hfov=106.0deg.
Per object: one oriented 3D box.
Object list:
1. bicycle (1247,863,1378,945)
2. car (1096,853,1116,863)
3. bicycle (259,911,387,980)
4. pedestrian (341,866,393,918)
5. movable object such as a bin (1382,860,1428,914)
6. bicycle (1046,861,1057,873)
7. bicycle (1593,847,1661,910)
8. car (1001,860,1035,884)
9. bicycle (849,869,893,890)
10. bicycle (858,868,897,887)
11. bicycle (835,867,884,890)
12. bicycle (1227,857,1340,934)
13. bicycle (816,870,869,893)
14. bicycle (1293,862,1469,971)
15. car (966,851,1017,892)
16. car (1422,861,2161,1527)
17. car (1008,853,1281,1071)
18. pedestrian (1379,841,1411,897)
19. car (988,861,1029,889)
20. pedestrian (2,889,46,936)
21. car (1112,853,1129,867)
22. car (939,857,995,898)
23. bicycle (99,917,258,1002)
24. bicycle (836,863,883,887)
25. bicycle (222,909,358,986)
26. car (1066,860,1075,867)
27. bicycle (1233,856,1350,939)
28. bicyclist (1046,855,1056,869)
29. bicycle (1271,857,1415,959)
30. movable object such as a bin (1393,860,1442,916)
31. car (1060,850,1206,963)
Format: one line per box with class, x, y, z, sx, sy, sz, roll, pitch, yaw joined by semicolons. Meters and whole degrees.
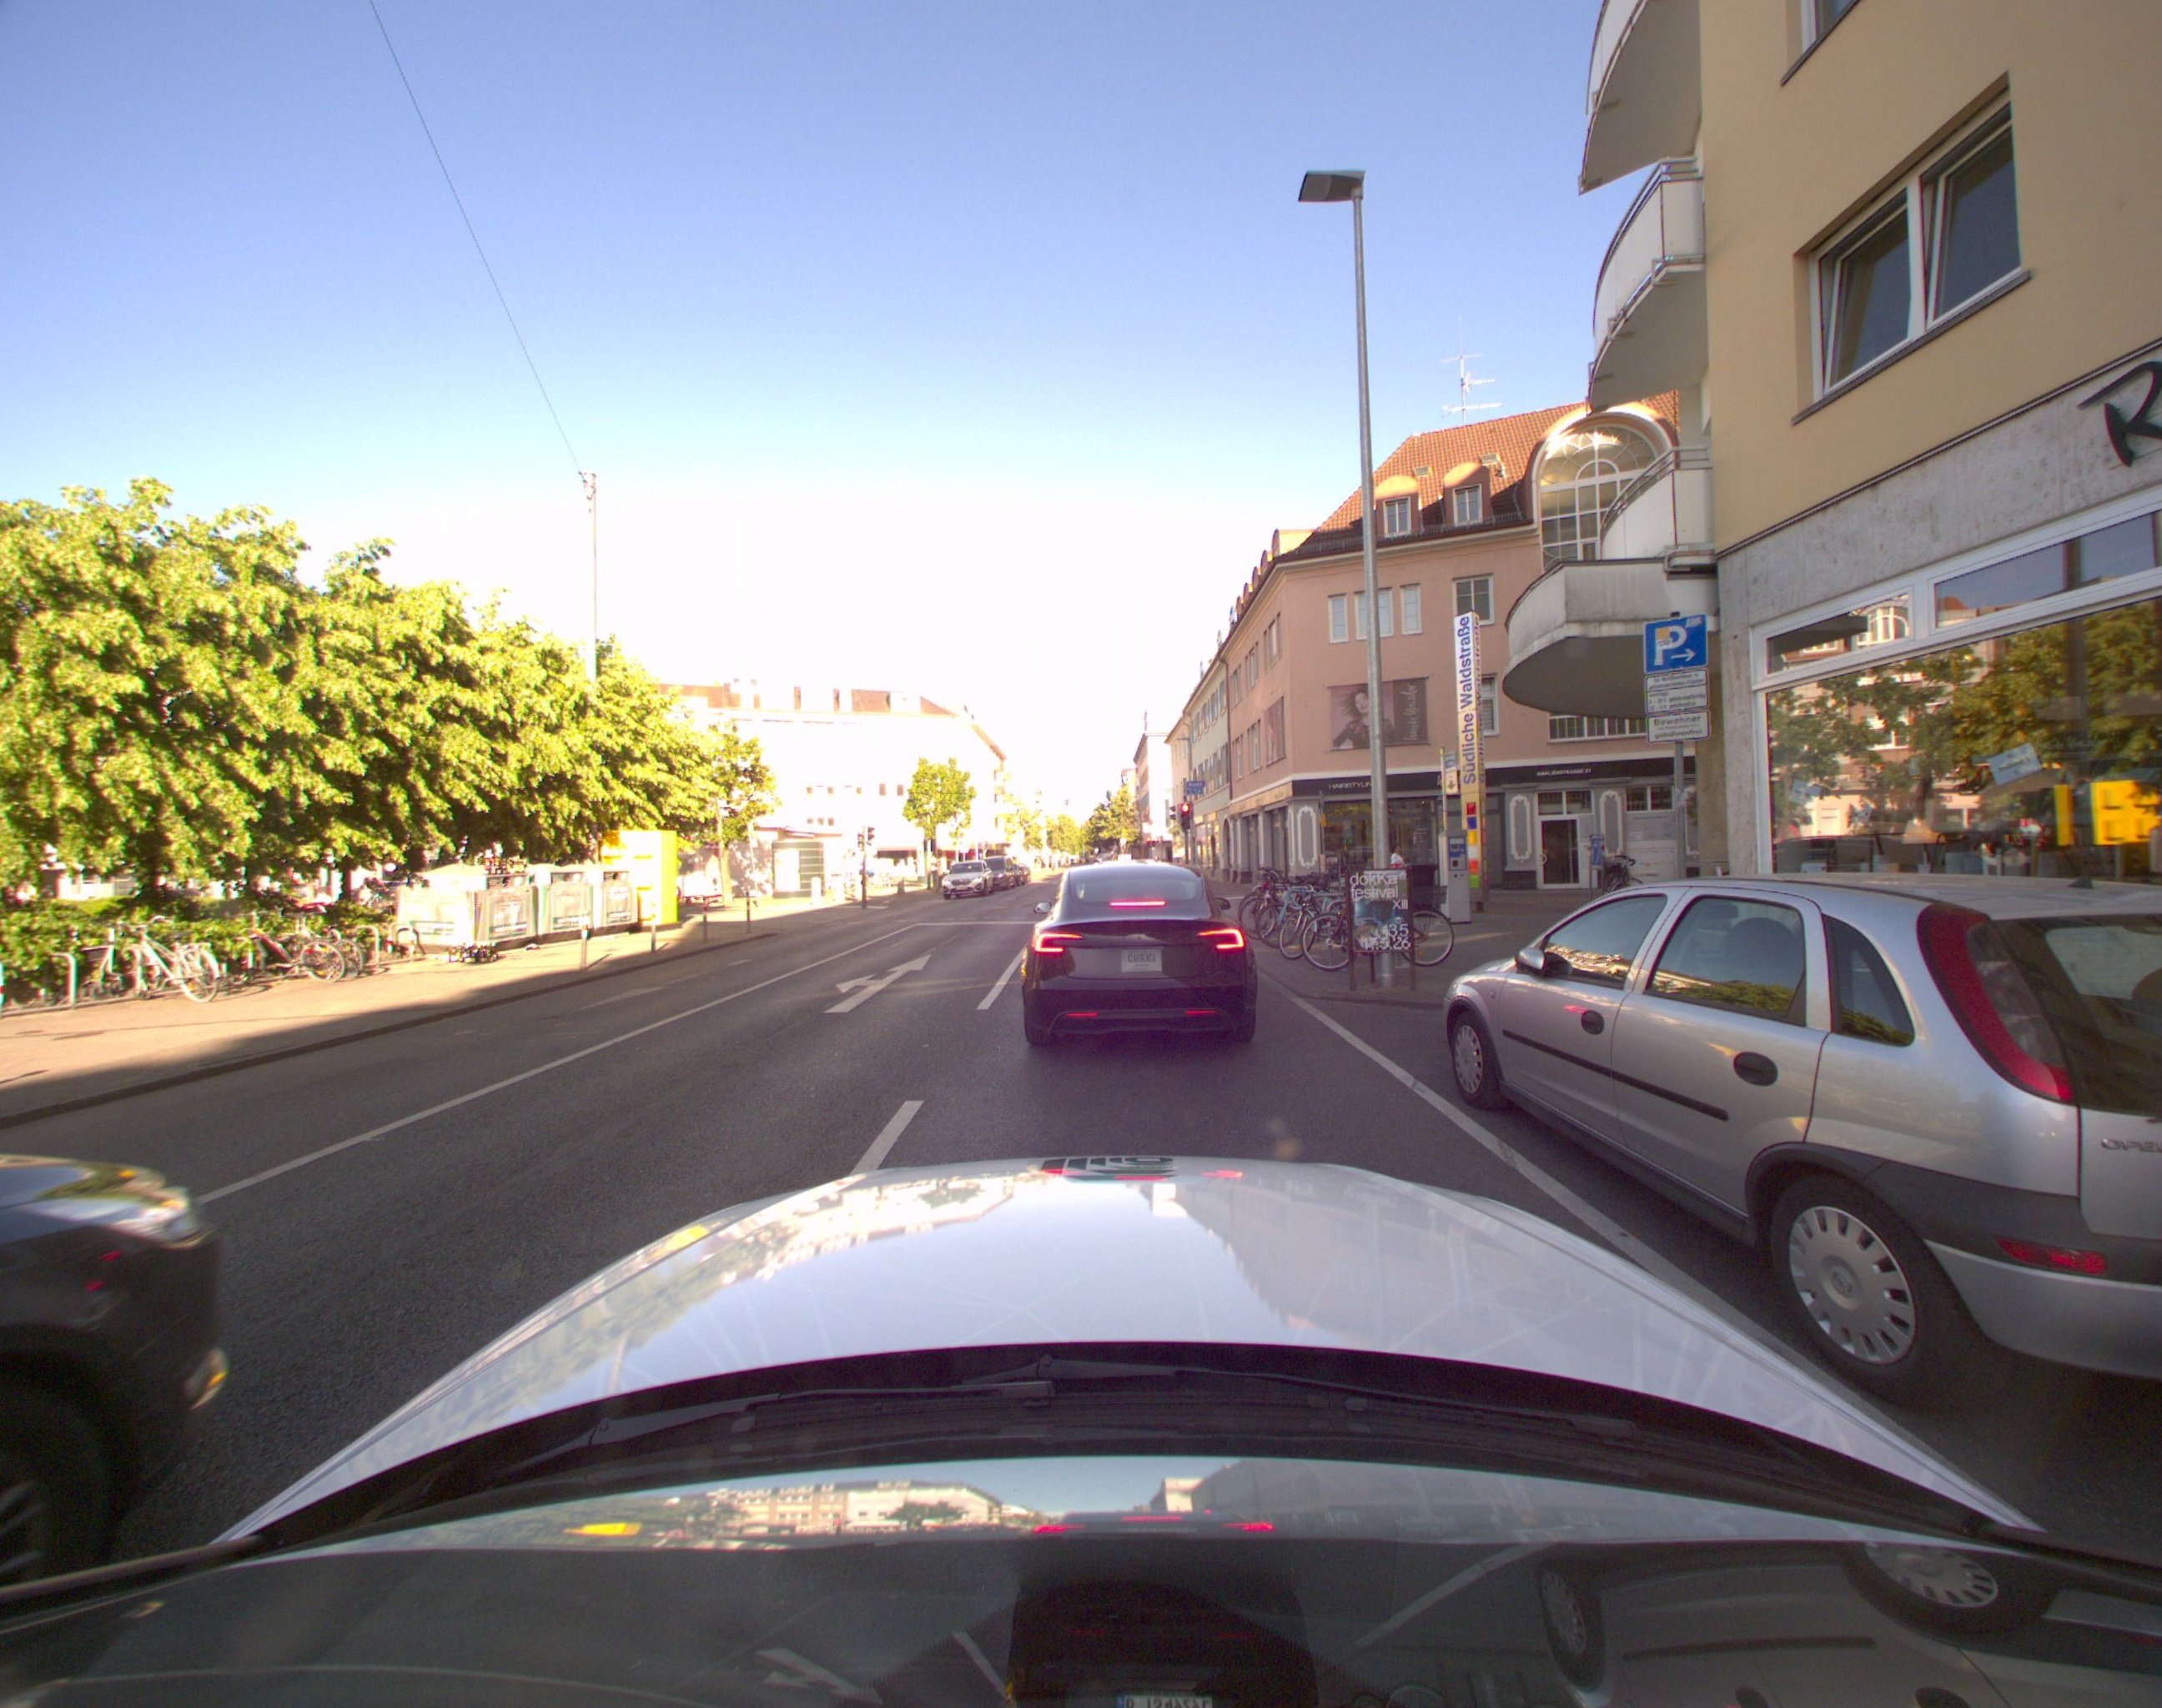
bicycle;3.522;0.754;12.508;1.788;1.124;0.783;-3;-1;7
car;5.125;0.846;167.677;3.974;2.013;2.000;-1;0;0
bicycle;-11.342;1.366;12.202;1.517;0.958;0.431;-1;1;3
pedestrian;-28.380;1.510;32.390;1.388;2.014;0.908;-1;0;14
movable object such as a bin;6.752;0.677;16.983;0.730;1.092;0.628;0;-1;3
bicycle;-3.476;1.540;95.791;1.108;1.344;3.998;-1;0;-1
bicycle;11.144;0.478;16.695;0.653;1.199;2.223;-2;0;21
car;-4.392;1.256;57.281;1.988;1.436;4.672;-5;0;-1
bicycle;-12.948;1.570;50.259;2.528;1.156;0.841;-1;0;-4
bicycle;-13.164;1.514;52.694;2.318;1.156;0.841;-1;0;-4
bicycle;-12.375;1.364;45.553;2.453;1.156;0.843;-1;0;0
bicycle;3.622;0.739;14.717;1.851;1.258;0.834;-3;-1;7
bicycle;-12.581;1.436;43.023;2.497;1.156;0.843;-1;0;0
bicycle;3.638;0.752;10.020;1.876;1.193;0.693;-3;0;7
car;-4.637;0.865;42.864;1.827;1.845;4.677;-5;0;2
car;2.969;0.732;3.526;1.607;1.382;3.645;0;0;2
car;0.498;0.757;7.608;1.841;1.455;4.001;-1;0;2
pedestrian;9.044;0.427;23.428;0.740;1.552;0.703;-1;0;28
car;-4.362;1.232;49.683;1.988;1.410;4.672;-5;0;-1
pedestrian;-47.015;2.599;36.224;0.981;2.014;0.909;-2;-1;18
car;4.843;0.718;100.805;1.986;1.629;4.002;-1;0;2
car;-4.966;0.991;36.100;1.802;1.555;4.308;-5;0;-1
bicycle;-11.455;1.328;10.354;1.590;1.018;0.430;-1;0;3
bicycle;-12.905;1.243;47.500;2.472;1.324;0.921;-1;0;-4
bicycle;-11.319;1.332;11.673;1.561;1.023;0.430;-1;0;3
car;-2.481;2.158;187.373;1.988;1.637;3.998;-1;0;-1
bicycle;3.507;0.711;13.689;1.738;1.267;0.782;-3;-1;4
bicyclist;-3.502;0.925;95.888;1.123;1.628;0.965;-1;0;-1
bicycle;3.542;0.726;11.156;1.713;1.268;0.792;-3;-1;7
movable object such as a bin;6.743;0.672;16.346;0.749;1.092;0.628;0;-1;3
car;0.740;0.723;13.316;1.987;1.512;4.175;-1;0;0
